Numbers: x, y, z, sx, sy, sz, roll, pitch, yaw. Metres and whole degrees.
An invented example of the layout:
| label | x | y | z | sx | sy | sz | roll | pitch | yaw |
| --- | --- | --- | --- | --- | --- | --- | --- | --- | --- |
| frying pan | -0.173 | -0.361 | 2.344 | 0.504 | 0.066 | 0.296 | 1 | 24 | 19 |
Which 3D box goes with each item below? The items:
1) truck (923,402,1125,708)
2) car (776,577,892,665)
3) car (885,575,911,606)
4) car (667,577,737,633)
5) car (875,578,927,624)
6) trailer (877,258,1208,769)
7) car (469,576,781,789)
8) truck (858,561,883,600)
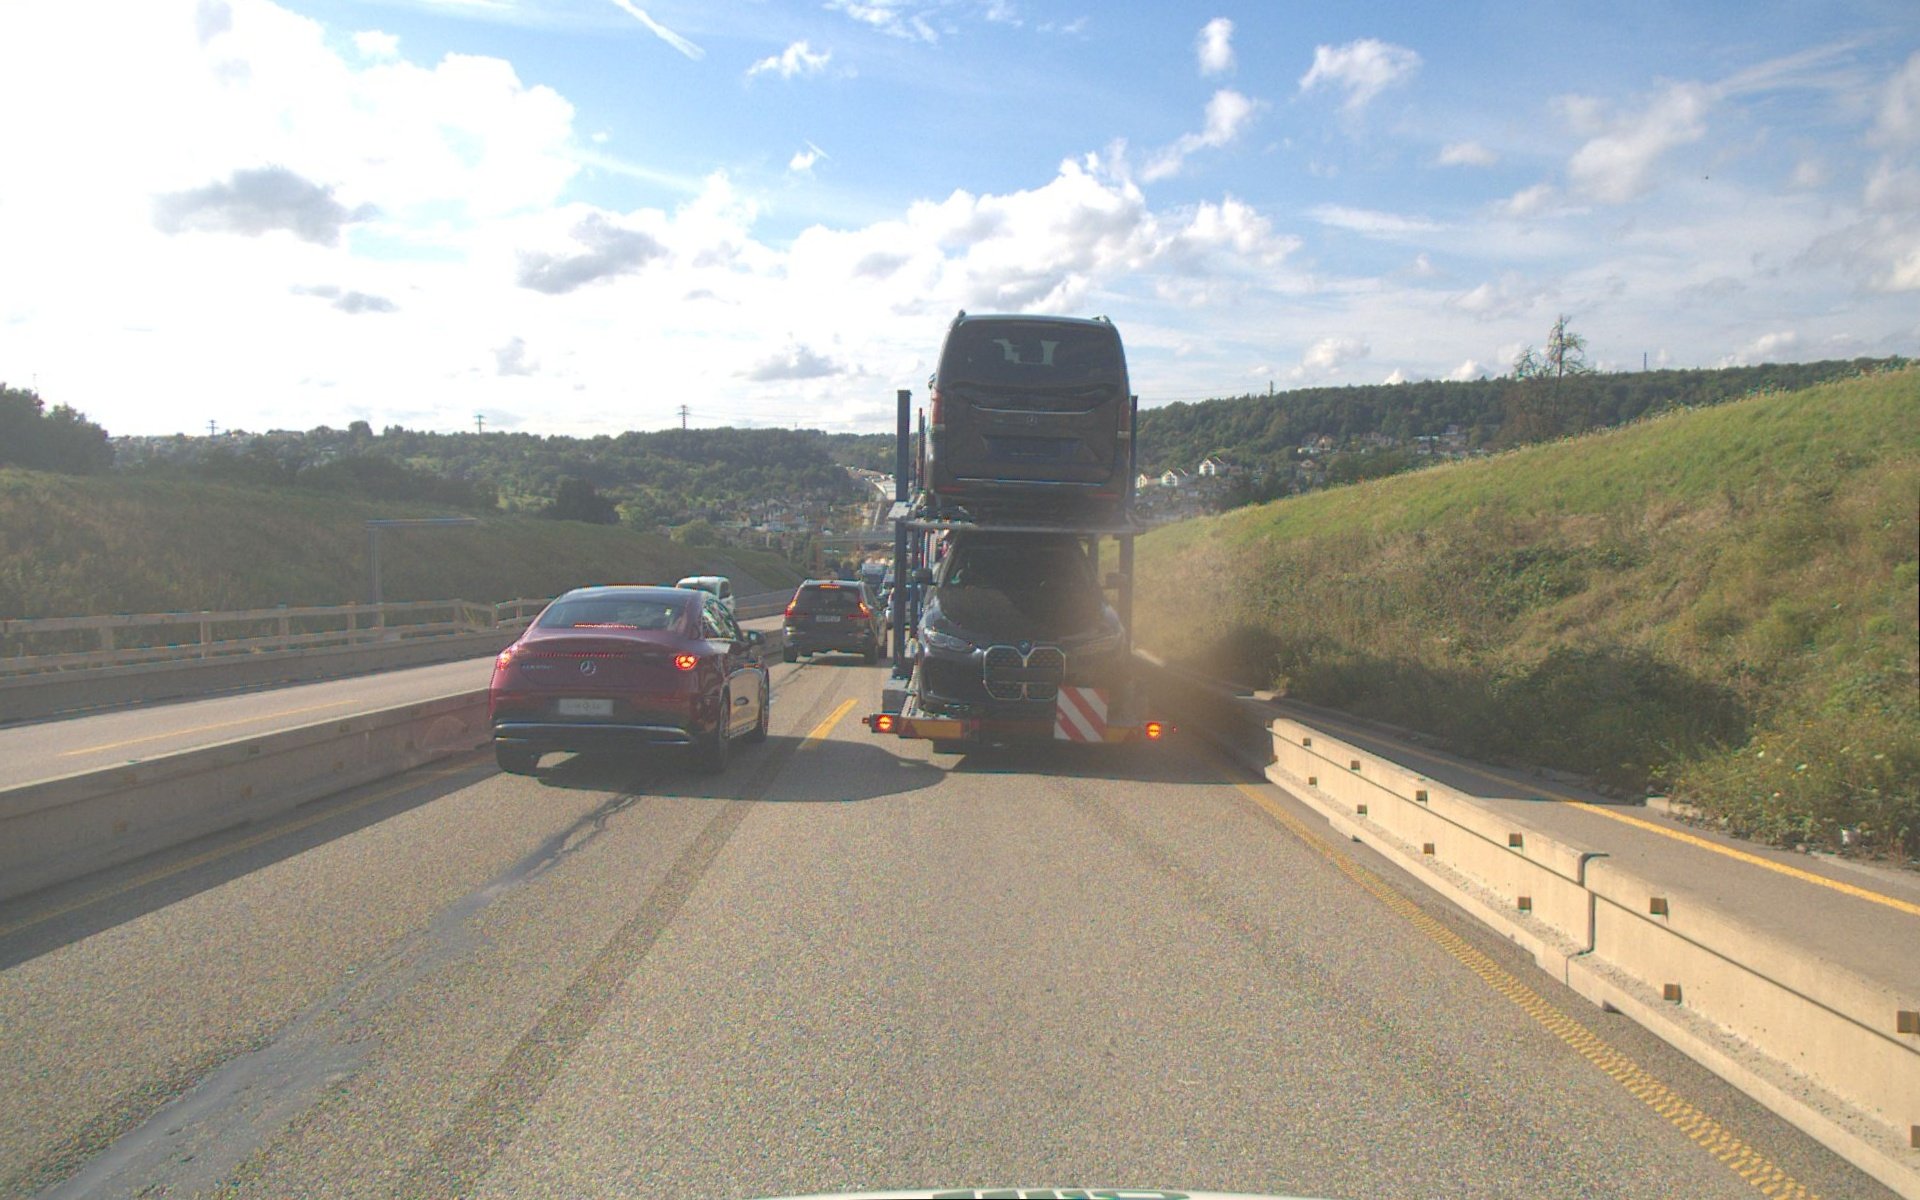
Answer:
| label | x | y | z | sx | sy | sz | roll | pitch | yaw |
| --- | --- | --- | --- | --- | --- | --- | --- | --- | --- |
| truck | 0.871 | -0.615 | 24.614 | 2.623 | 3.990 | 6.028 | 0 | 0 | 1 |
| car | -2.519 | 0.374 | 34.153 | 1.953 | 1.653 | 4.750 | 1 | 1 | 0 |
| car | -5.992 | -0.950 | 160.604 | 2.066 | 2.885 | 6.139 | -2 | 0 | 1 |
| car | -8.540 | 0.130 | 55.119 | 1.699 | 1.688 | 4.217 | -3 | 1 | -1 |
| car | -2.126 | 0.014 | 60.803 | 1.759 | 1.624 | 4.742 | 0 | 1 | -1 |
| trailer | 0.753 | -0.744 | 18.980 | 2.652 | 4.099 | 11.421 | 0 | 0 | 1 |
| car | -2.706 | 0.571 | 14.468 | 1.786 | 1.518 | 4.684 | 1 | 1 | -1 |
| truck | -9.978 | -2.164 | 183.531 | 2.563 | 4.226 | 5.776 | 0 | 0 | -5 |
